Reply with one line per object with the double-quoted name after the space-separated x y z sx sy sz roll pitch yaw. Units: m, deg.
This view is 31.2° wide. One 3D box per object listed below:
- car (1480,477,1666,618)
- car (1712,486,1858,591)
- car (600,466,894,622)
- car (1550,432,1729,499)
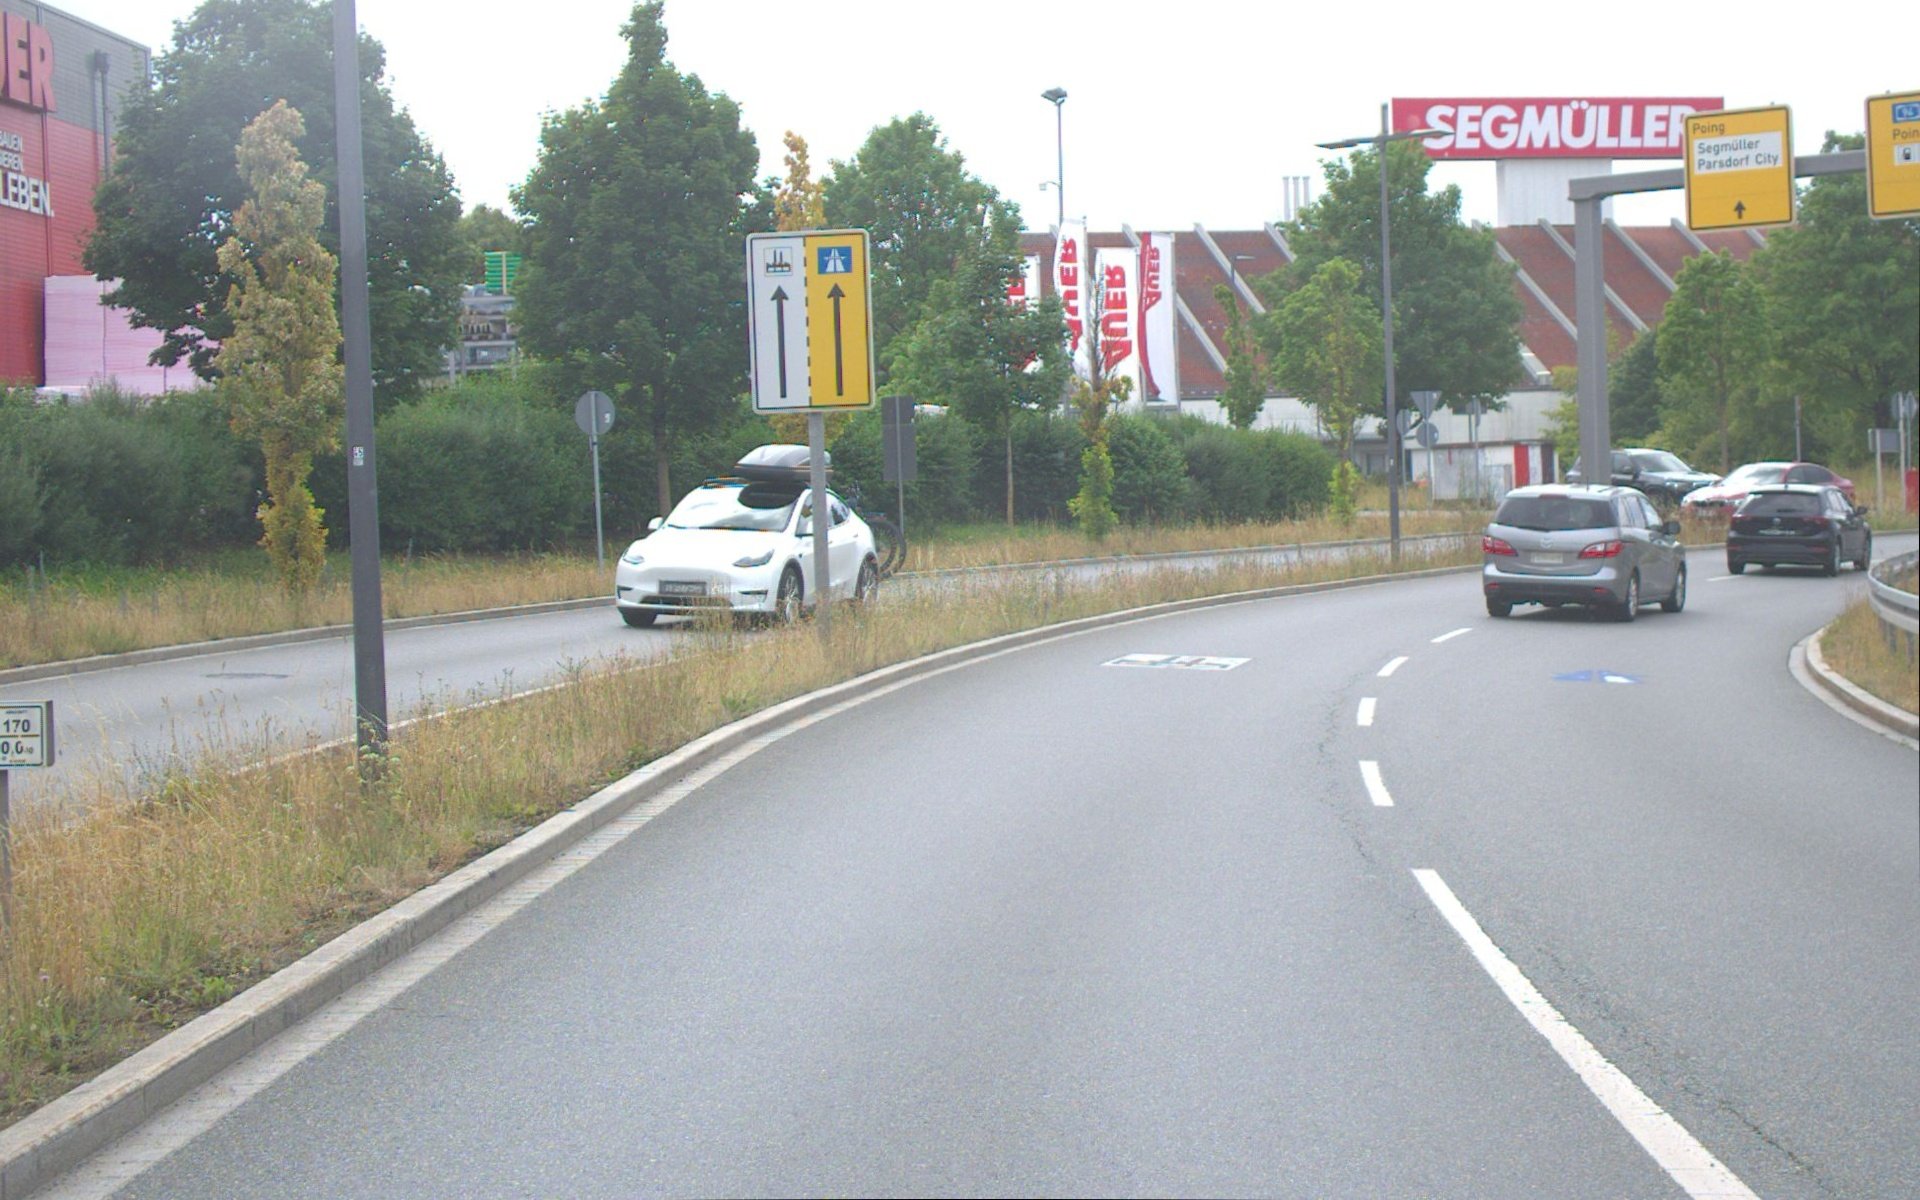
7.509 -0.656 41.847 1.768 1.611 3.918 -1 1 17 "car"
13.210 -0.998 54.937 1.871 1.599 3.731 -1 1 19 "car"
-2.351 -0.691 39.316 1.910 1.620 4.634 2 3 15 "car"
16.124 -3.198 81.764 1.867 1.544 4.256 -2 3 -29 "car"
